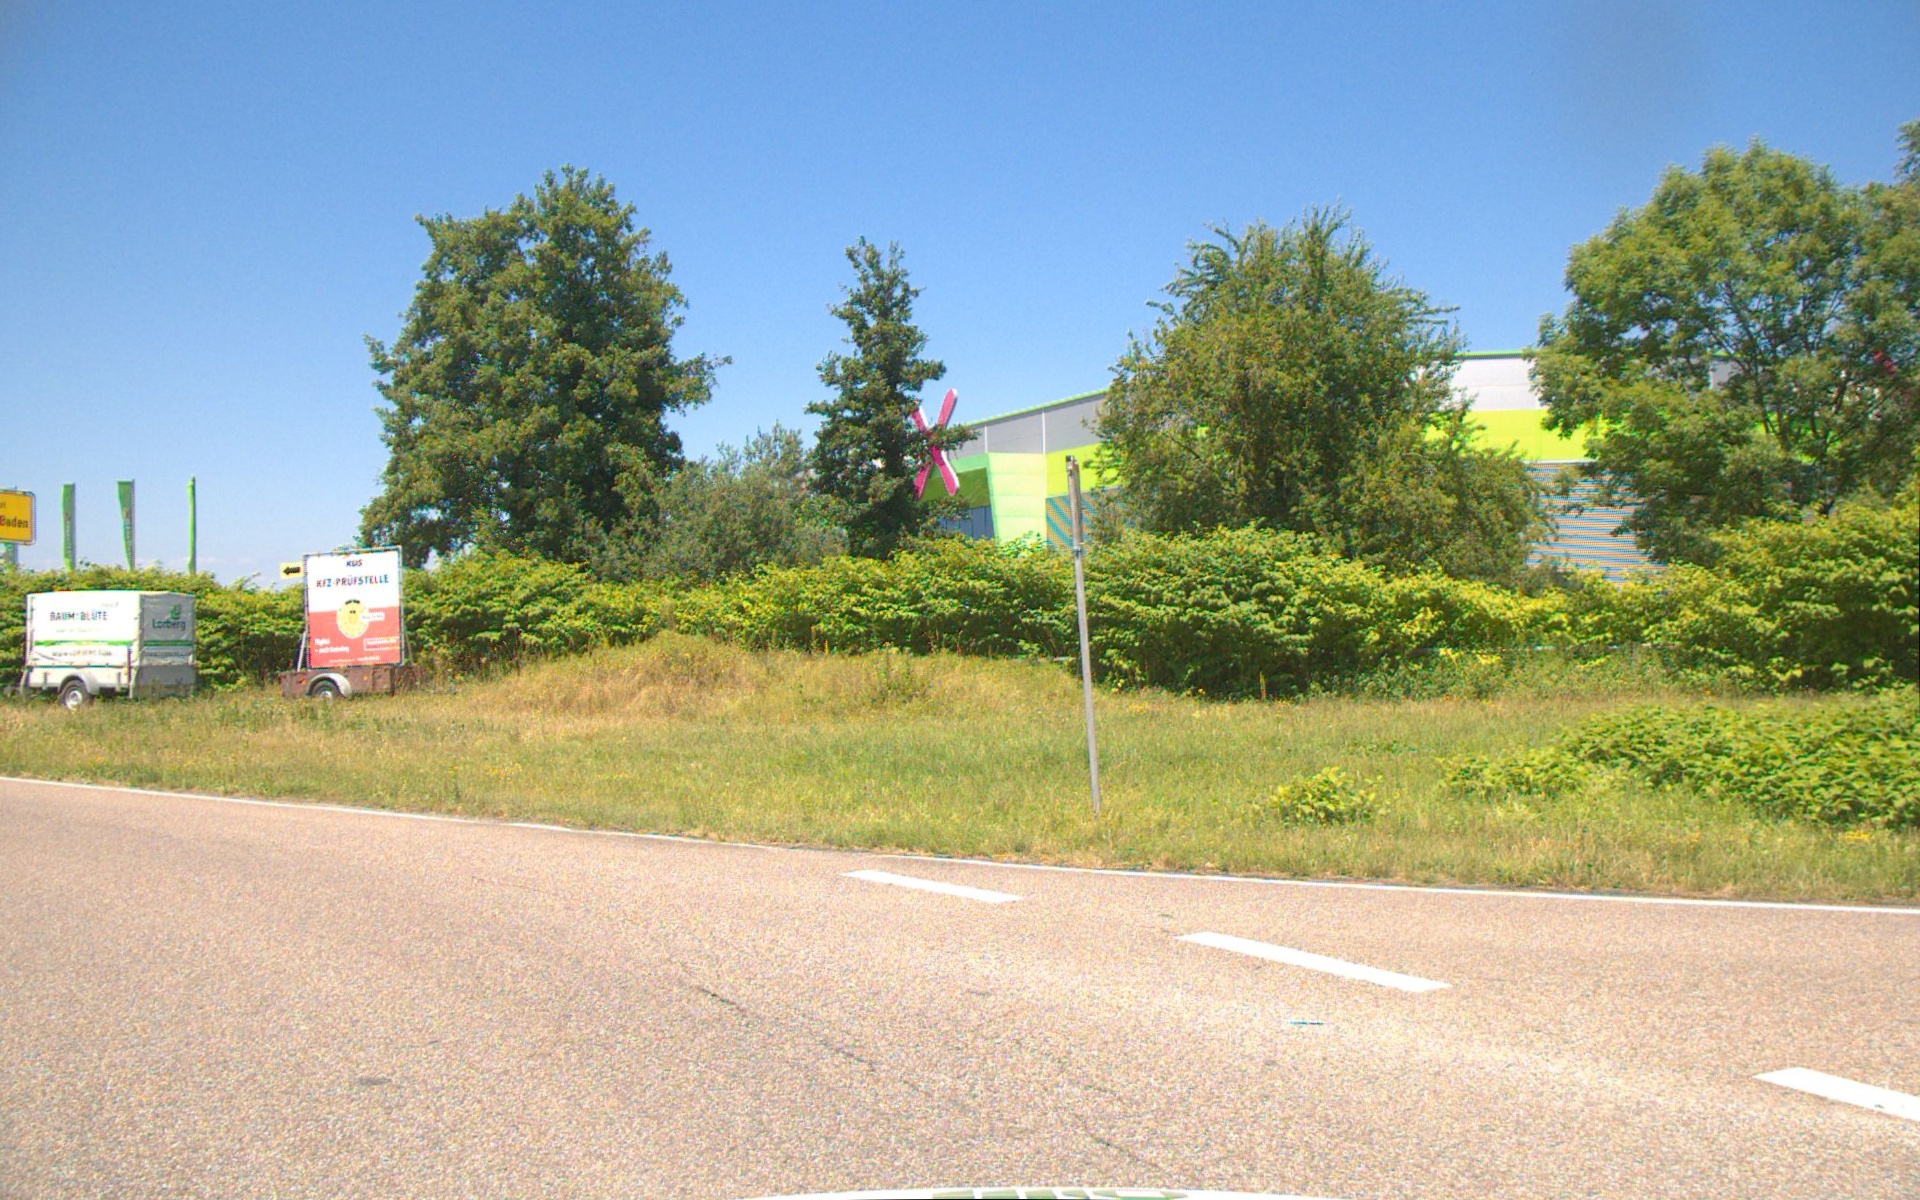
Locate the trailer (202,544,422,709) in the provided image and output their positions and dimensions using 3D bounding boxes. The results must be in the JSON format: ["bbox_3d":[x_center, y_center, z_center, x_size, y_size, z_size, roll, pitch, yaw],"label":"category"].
[{"bbox_3d":[-11.335,0.476,29.015,3.071,2.717,1.853,-2,-1,16],"label":"trailer"}]

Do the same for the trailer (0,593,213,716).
[{"bbox_3d":[-16.002,1.001,30.373,3.873,2.114,1.853,-2,-1,16],"label":"trailer"}]
